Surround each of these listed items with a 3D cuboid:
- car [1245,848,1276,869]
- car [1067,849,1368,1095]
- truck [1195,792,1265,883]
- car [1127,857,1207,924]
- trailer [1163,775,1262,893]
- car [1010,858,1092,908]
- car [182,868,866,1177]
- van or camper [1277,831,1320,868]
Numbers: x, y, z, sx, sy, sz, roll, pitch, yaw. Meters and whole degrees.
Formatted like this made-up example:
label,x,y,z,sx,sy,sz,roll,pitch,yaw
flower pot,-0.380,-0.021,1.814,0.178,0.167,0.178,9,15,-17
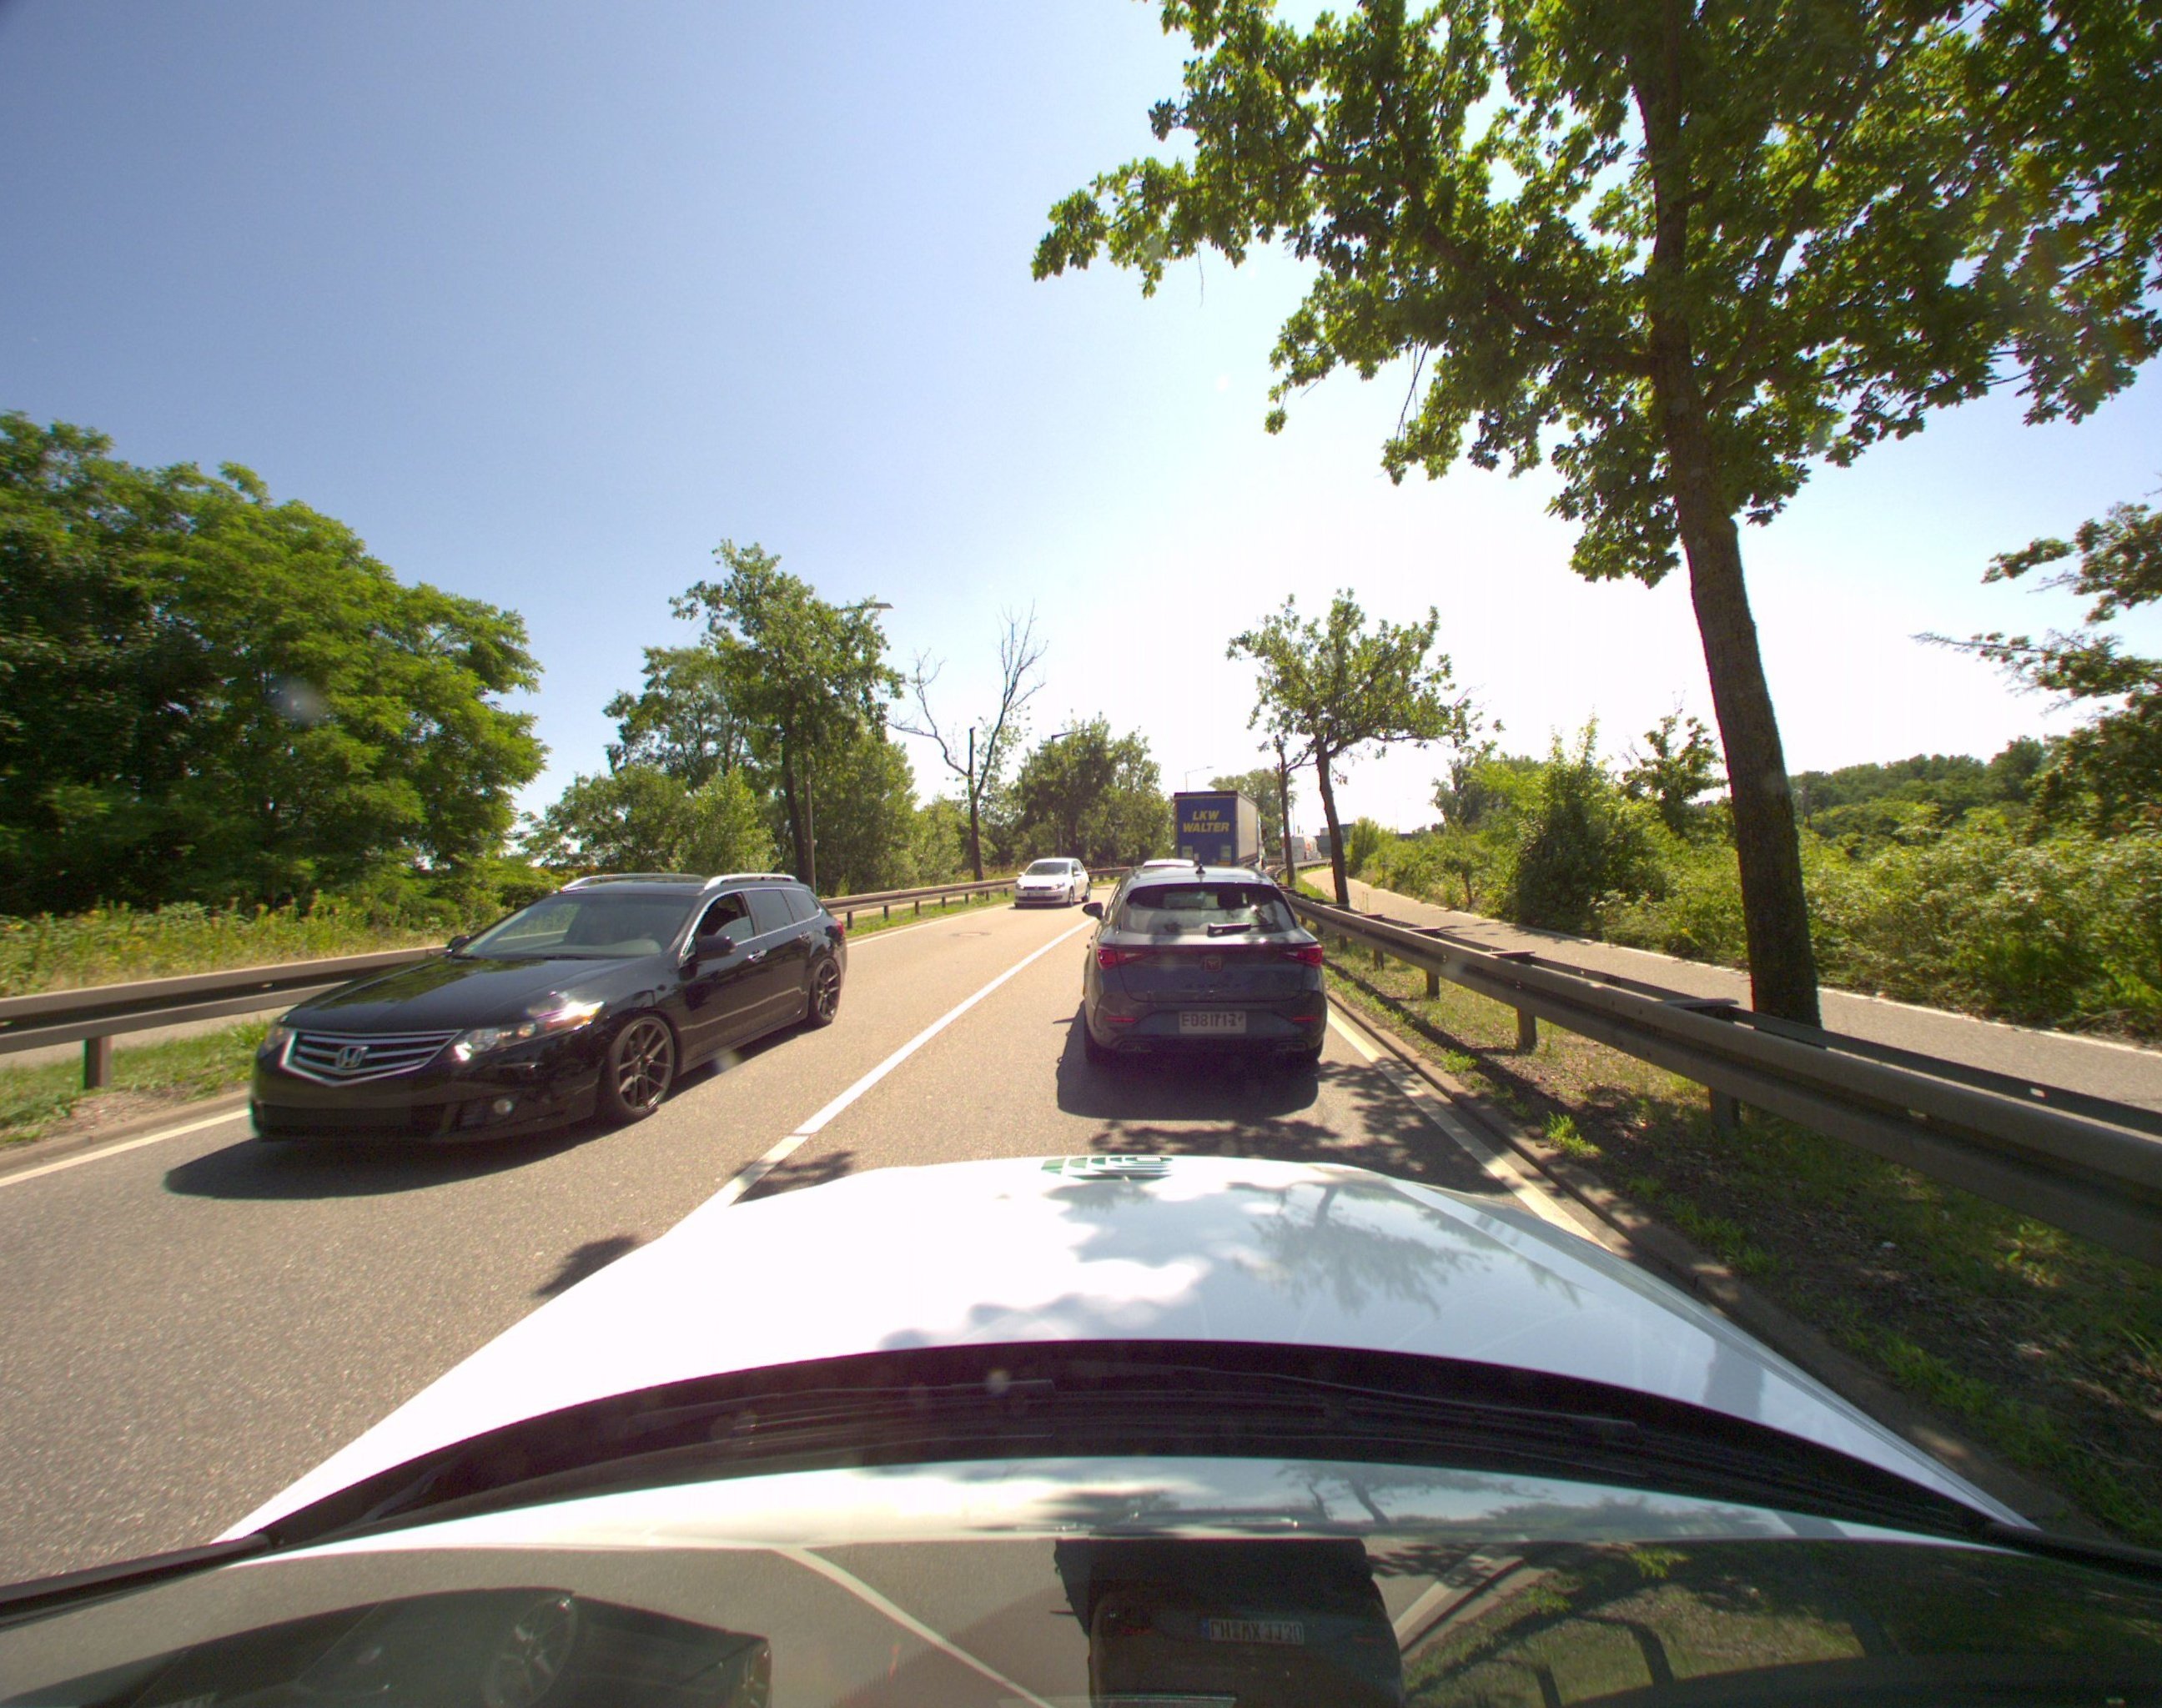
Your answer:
label,x,y,z,sx,sy,sz,roll,pitch,yaw
car,15.206,0.350,68.779,1.731,1.728,3.749,-1,0,25
car,0.907,0.736,6.955,1.838,1.499,3.759,-1,0,2
truck,8.355,-0.791,44.875,3.146,4.585,7.426,-1,-1,15
car,2.174,0.817,19.780,1.582,1.461,3.556,0,0,11
trailer,6.563,-0.799,38.483,3.110,4.614,13.002,0,0,16
car,-0.847,0.853,25.602,1.714,1.438,4.035,0,0,11
car,-3.266,0.839,6.194,1.869,1.380,4.672,0,0,2
van or camper,17.337,-0.366,64.641,2.183,2.711,5.960,-2,0,26
